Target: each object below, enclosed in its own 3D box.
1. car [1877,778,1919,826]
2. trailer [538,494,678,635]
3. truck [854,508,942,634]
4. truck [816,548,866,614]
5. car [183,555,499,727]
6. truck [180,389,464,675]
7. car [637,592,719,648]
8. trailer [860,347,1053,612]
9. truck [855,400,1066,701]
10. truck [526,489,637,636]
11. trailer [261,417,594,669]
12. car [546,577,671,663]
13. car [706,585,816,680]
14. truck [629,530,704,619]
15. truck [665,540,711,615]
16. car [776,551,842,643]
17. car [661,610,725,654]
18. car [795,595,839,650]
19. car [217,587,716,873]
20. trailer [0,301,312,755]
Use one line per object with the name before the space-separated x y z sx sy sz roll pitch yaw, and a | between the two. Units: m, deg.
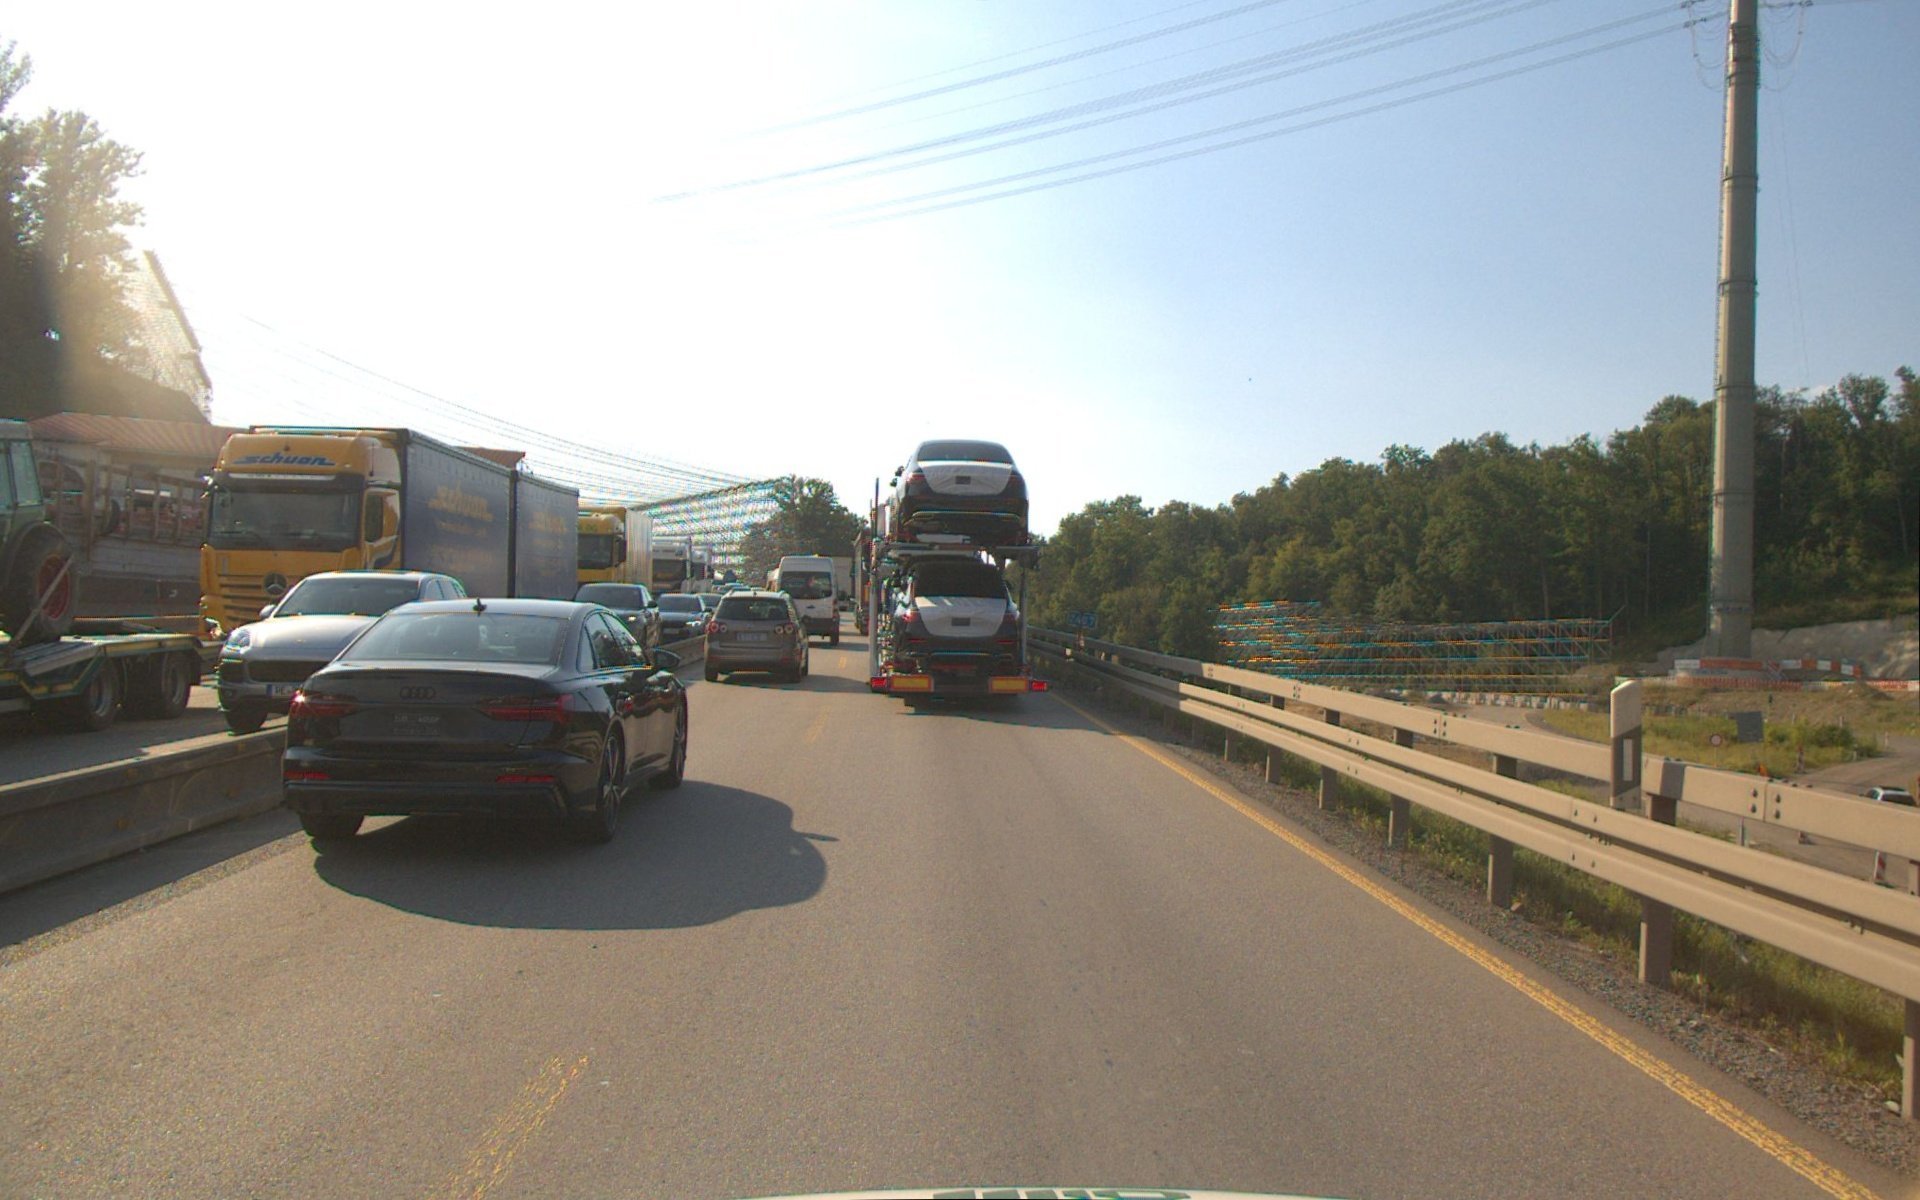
car | 38.323 8.127 66.656 1.503 1.486 4.242 0 -1 41
trailer | -12.105 -0.964 58.451 2.648 4.278 15.982 0 -1 -4
truck | -2.727 -1.193 69.076 3.165 4.758 11.685 1 1 -4
truck | -9.123 -1.470 126.755 3.576 4.758 11.685 1 1 -4
car | -6.753 0.438 18.690 1.920 1.673 4.845 0 -1 -3
truck | -10.293 -0.966 27.358 2.647 4.213 5.790 0 -1 -3
car | -8.075 0.588 47.762 1.752 1.524 4.721 0 -1 -3
trailer | -0.502 -1.848 33.844 2.818 4.064 15.264 0 -1 -4
truck | -0.029 -0.627 25.177 2.811 4.050 5.770 0 -1 -1
truck | -11.505 -1.067 50.659 2.641 4.270 4.393 0 -1 -5
trailer | -10.748 -0.833 36.035 2.660 4.207 16.740 0 -1 -3
car | -7.540 0.438 35.892 1.888 1.731 4.688 0 -1 -3
car | -3.600 0.585 30.523 1.666 1.615 4.145 0 -1 -2
truck | -14.567 -1.075 83.024 2.755 4.040 13.873 1 -1 -6
truck | -16.248 -1.280 99.100 2.397 4.346 6.311 0 -1 -7
car | -4.637 -0.048 51.309 1.940 2.731 4.143 0 -1 -4
car | -9.305 1.106 57.924 1.761 1.478 4.612 0 -1 -4
car | -5.663 0.886 65.201 1.499 2.049 3.994 3 -1 -7
car | -2.993 0.707 11.360 1.901 1.506 5.221 0 0 -1
trailer | -9.545 -0.612 13.392 2.693 3.882 16.041 0 0 -2
